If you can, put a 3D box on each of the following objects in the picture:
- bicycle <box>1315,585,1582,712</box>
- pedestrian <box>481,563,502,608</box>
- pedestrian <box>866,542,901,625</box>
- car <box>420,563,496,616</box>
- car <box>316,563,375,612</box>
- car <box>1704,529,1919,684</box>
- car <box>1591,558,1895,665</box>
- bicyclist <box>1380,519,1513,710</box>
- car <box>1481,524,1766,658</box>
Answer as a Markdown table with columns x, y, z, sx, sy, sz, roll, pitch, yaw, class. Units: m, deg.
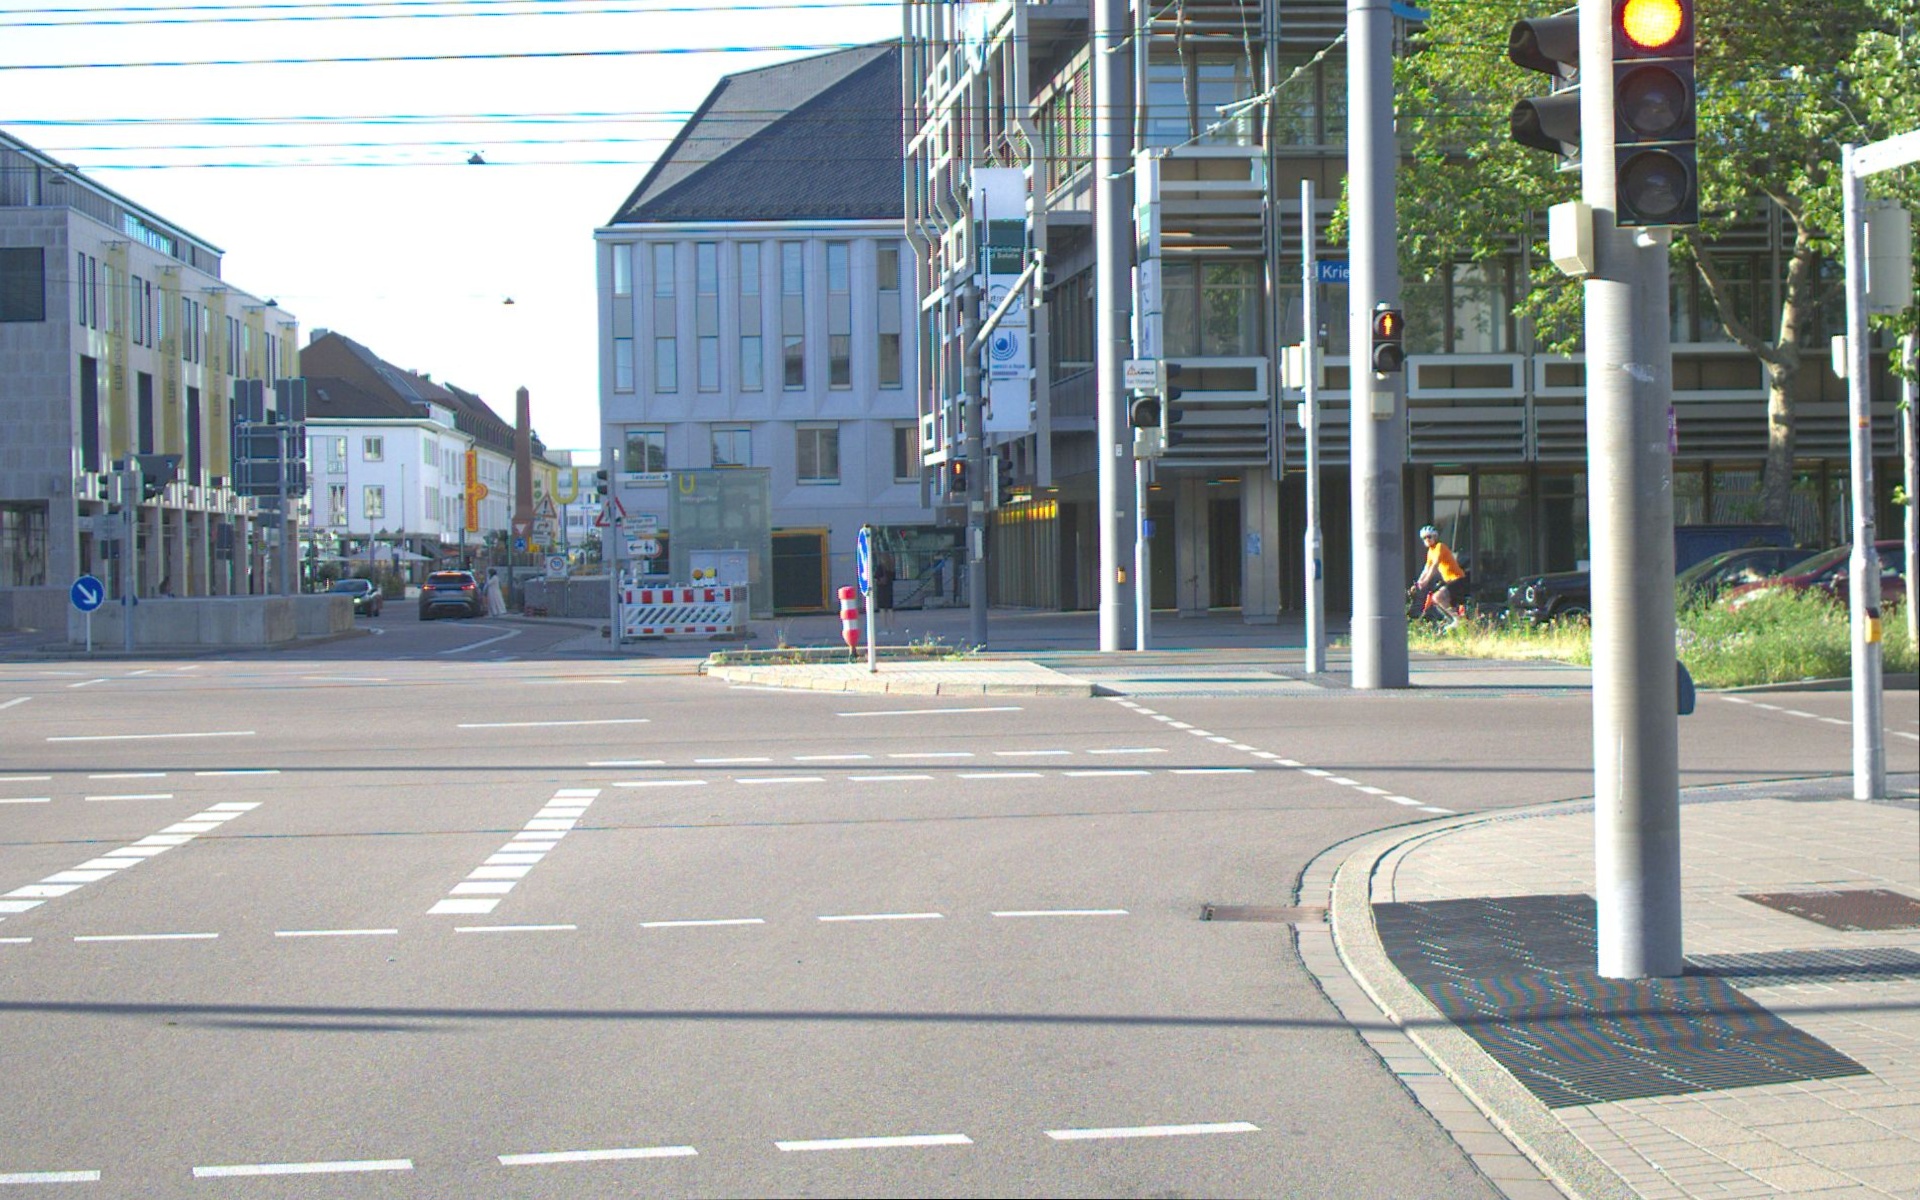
| x | y | z | sx | sy | sz | roll | pitch | yaw | class |
| --- | --- | --- | --- | --- | --- | --- | --- | --- | --- |
| 6.695 | 0.649 | 47.143 | 3.490 | 1.653 | 0.932 | -1 | 1 | -9 | bicycle |
| -14.773 | -0.458 | 108.431 | 0.609 | 1.406 | 0.570 | -1 | 1 | -6 | pedestrian |
| -1.541 | -0.340 | 69.552 | 0.663 | 1.652 | 0.755 | -1 | 1 | -3 | pedestrian |
| -15.806 | -0.349 | 108.419 | 2.199 | 1.601 | 4.327 | -1 | 1 | -6 | car |
| -23.315 | -0.486 | 130.585 | 1.756 | 1.777 | 4.001 | -1 | 1 | -4 | car |
| 12.290 | 0.088 | 46.405 | 3.986 | 2.007 | 2.000 | 1 | 0 | -3 | car |
| 11.496 | 0.158 | 50.657 | 3.986 | 1.503 | 1.868 | 0 | 1 | -3 | car |
| 6.664 | 0.190 | 47.136 | 1.567 | 2.571 | 0.932 | -1 | 1 | -9 | bicyclist |
| 10.347 | -0.143 | 53.774 | 3.986 | 2.007 | 2.000 | 1 | 0 | -3 | car |
